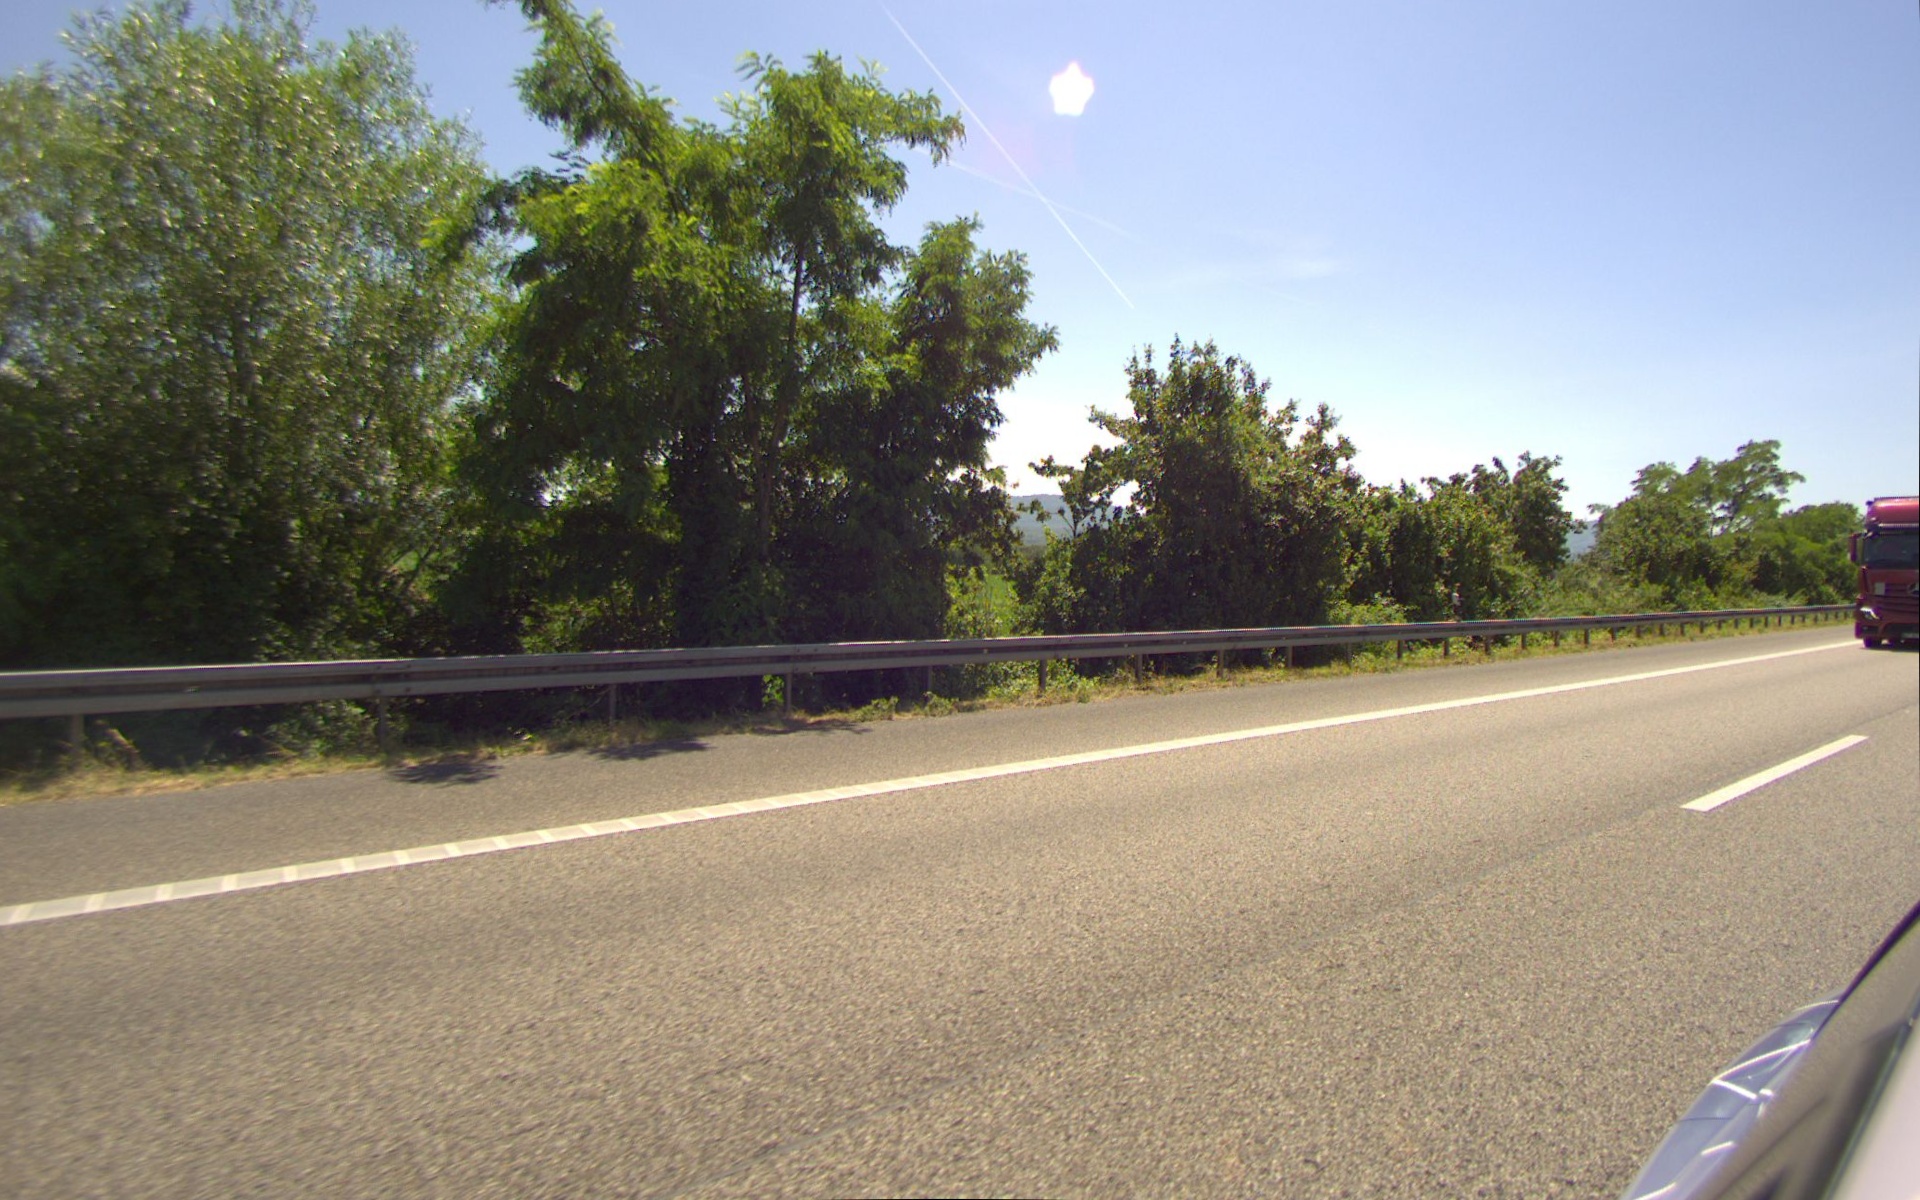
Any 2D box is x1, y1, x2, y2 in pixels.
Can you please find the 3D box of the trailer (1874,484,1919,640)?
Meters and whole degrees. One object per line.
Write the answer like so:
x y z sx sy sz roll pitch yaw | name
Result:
31.403 -1.029 30.876 13.892 4.138 2.715 0 3 -38 | trailer

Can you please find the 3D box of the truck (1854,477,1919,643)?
26.887 -1.012 27.336 6.837 4.138 2.715 0 3 -38 | truck
